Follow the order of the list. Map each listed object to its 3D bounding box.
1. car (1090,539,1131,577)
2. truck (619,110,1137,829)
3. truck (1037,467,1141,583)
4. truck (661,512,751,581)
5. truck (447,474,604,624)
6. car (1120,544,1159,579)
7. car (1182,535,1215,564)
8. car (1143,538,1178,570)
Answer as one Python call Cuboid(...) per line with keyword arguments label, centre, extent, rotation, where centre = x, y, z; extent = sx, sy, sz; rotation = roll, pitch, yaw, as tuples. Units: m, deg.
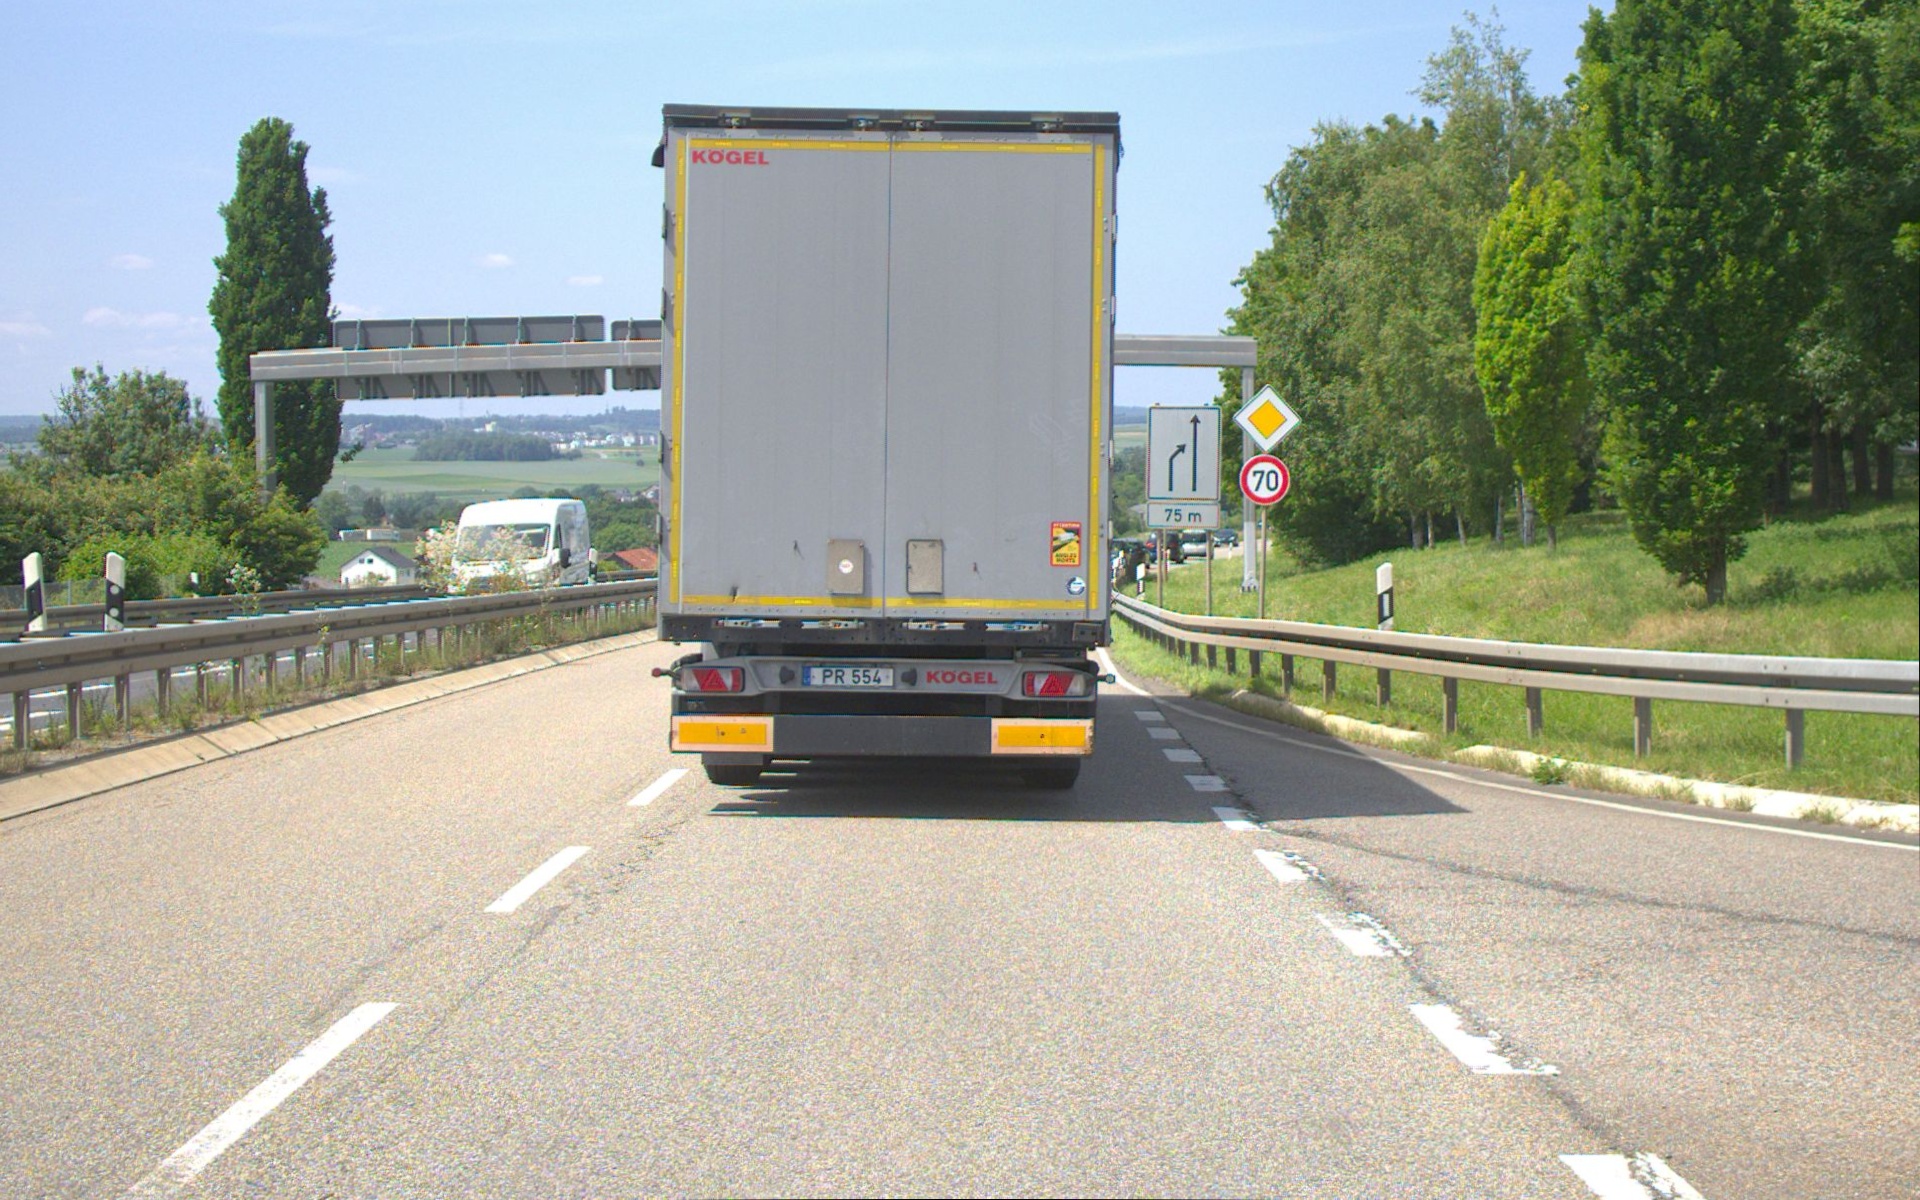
Cuboid(label="car", centre=(6.726, -1.865, 154.192), extent=(1.786, 1.682, 4.000), rotation=(1, 0, 2))
Cuboid(label="truck", centre=(-0.561, -0.828, 24.543), extent=(2.799, 3.916, 11.342), rotation=(1, 1, -1))
Cuboid(label="truck", centre=(4.506, -2.497, 118.060), extent=(2.656, 3.752, 10.159), rotation=(1, 0, 7))
Cuboid(label="truck", centre=(-6.858, -1.436, 93.252), extent=(1.849, 1.743, 4.537), rotation=(-2, 0, 2))
Cuboid(label="truck", centre=(-8.140, -0.982, 64.976), extent=(2.040, 2.612, 6.020), rotation=(-2, 1, 1))
Cuboid(label="car", centre=(8.711, -1.850, 166.958), extent=(1.786, 1.682, 4.000), rotation=(1, 0, 2))
Cuboid(label="car", centre=(14.105, -2.990, 203.751), extent=(1.786, 1.682, 4.000), rotation=(1, 0, 2))
Cuboid(label="car", centre=(10.769, -2.455, 184.707), extent=(1.786, 1.682, 4.000), rotation=(1, 0, 2))
